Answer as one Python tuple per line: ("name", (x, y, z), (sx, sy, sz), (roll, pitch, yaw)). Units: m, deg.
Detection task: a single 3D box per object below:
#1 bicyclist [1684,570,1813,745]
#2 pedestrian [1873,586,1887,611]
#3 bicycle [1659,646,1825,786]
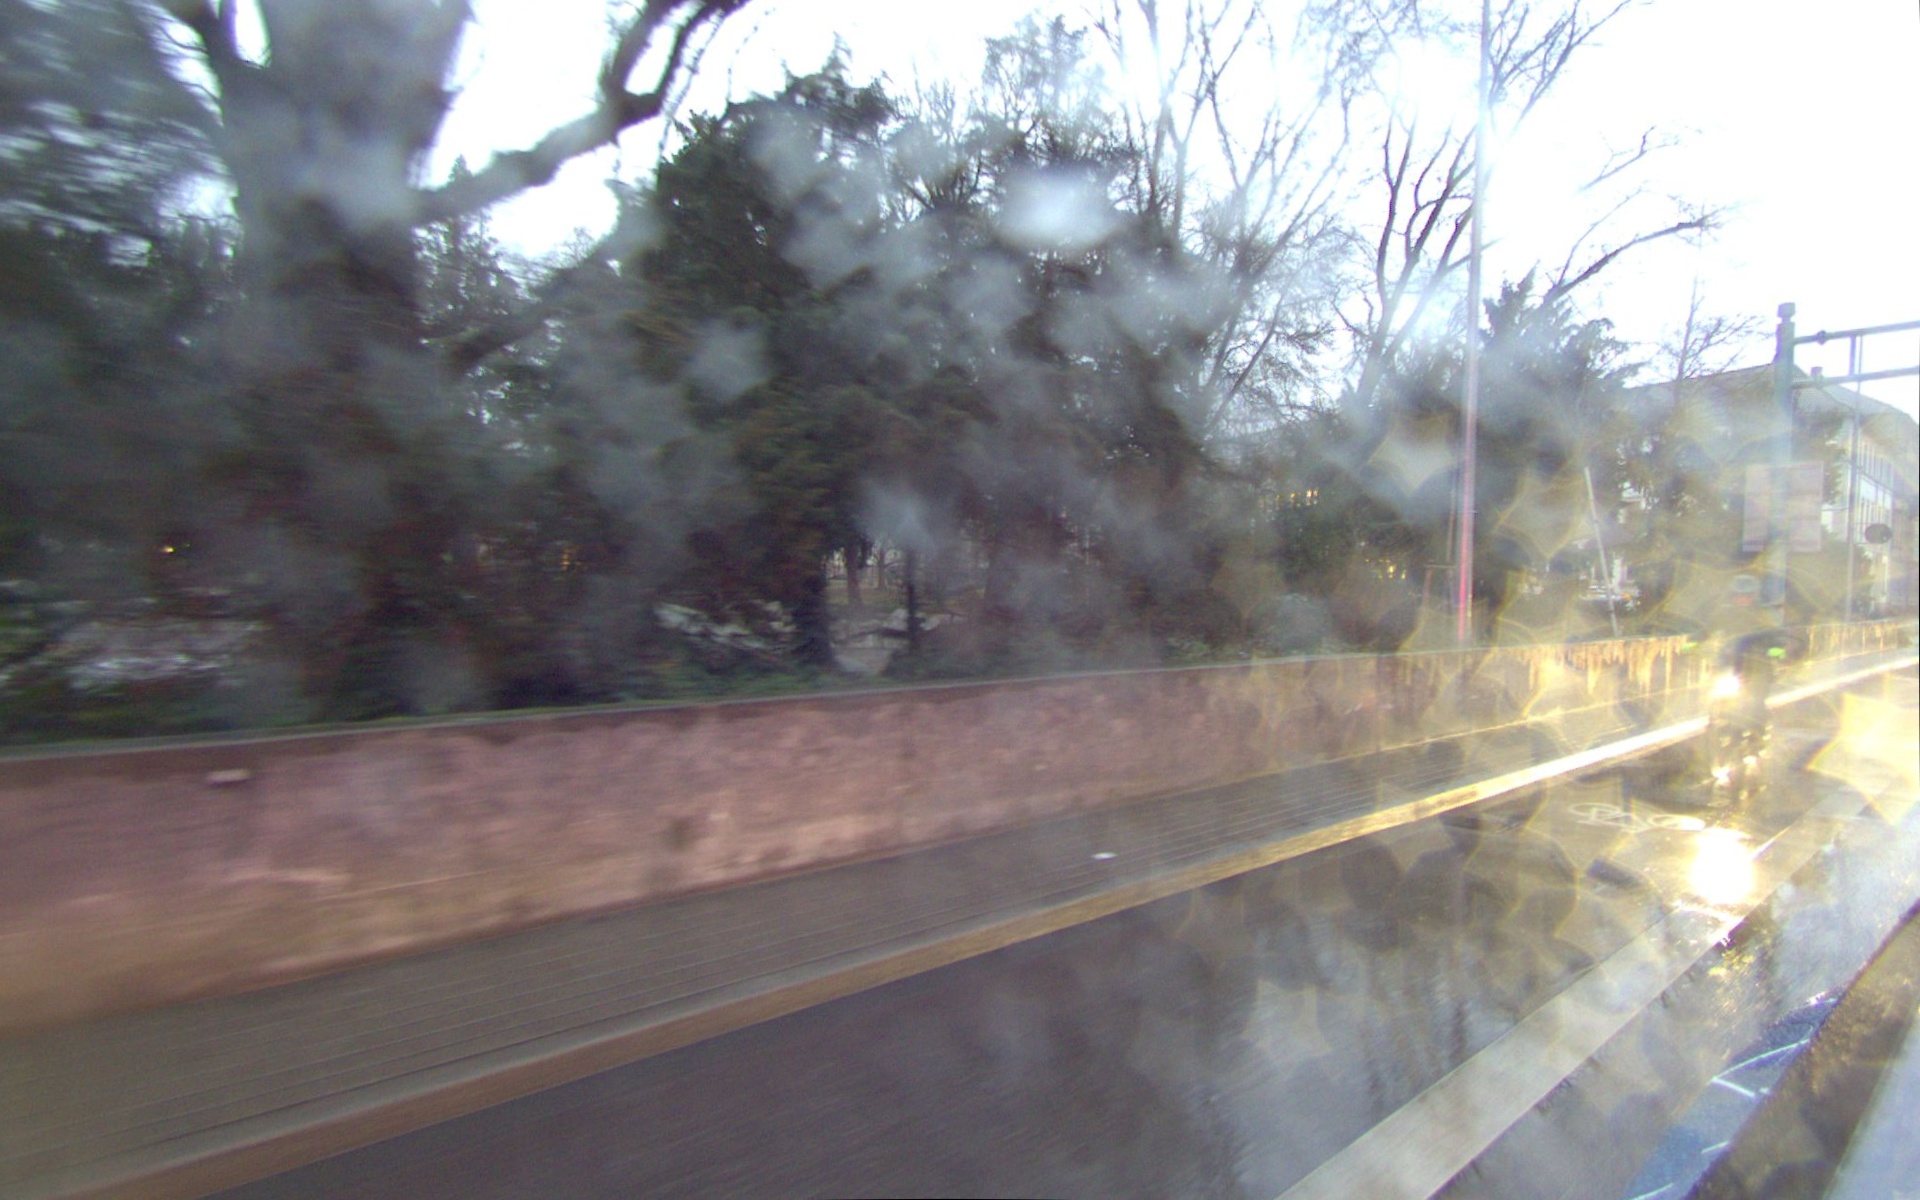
("bicyclist", (6.761, 0.458, 8.676), (0.874, 1.406, 0.647), (0, 1, -38))
("pedestrian", (57.408, -0.114, 63.134), (0.577, 1.529, 0.520), (0, 2, -41))
("bicycle", (6.757, 0.936, 8.704), (2.009, 0.978, 0.647), (0, 2, -39))
